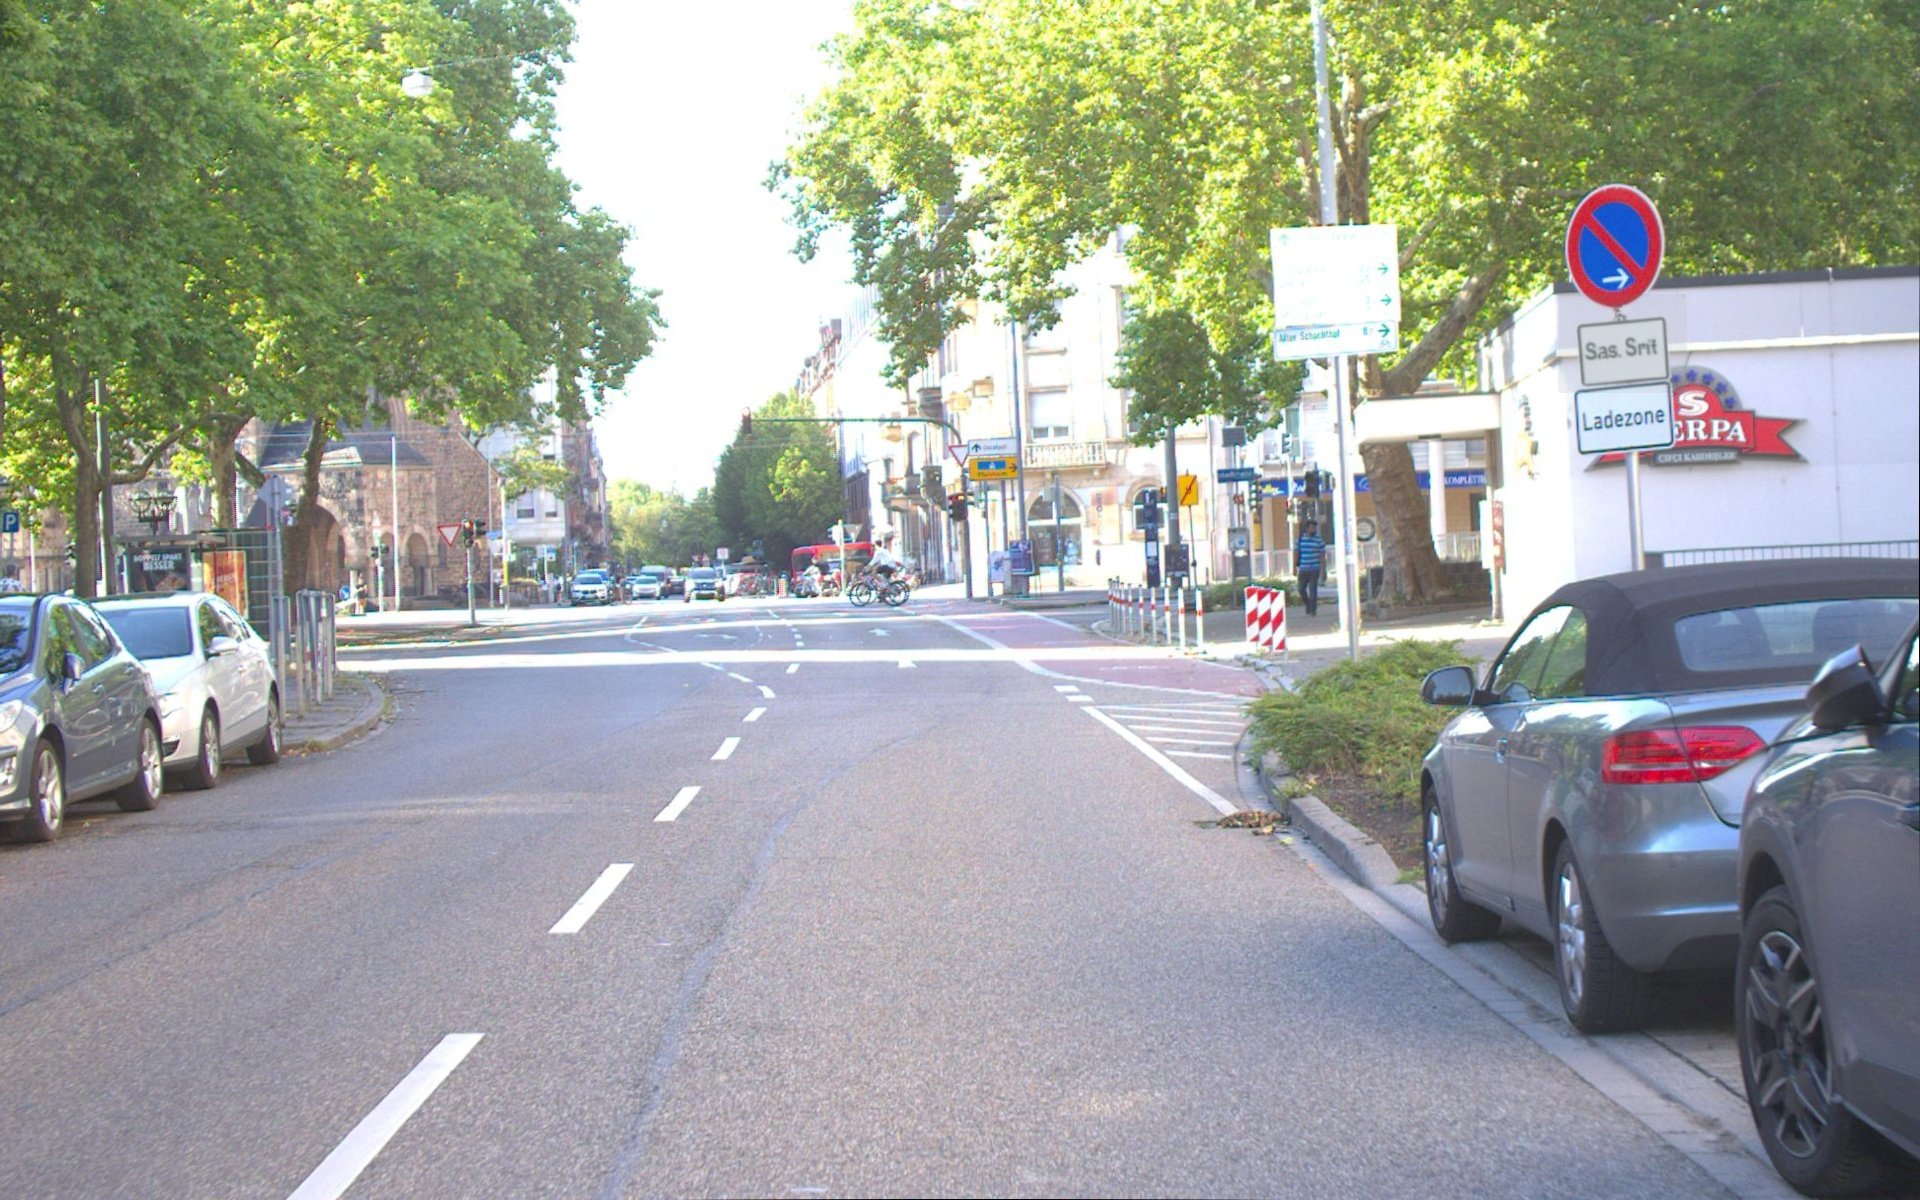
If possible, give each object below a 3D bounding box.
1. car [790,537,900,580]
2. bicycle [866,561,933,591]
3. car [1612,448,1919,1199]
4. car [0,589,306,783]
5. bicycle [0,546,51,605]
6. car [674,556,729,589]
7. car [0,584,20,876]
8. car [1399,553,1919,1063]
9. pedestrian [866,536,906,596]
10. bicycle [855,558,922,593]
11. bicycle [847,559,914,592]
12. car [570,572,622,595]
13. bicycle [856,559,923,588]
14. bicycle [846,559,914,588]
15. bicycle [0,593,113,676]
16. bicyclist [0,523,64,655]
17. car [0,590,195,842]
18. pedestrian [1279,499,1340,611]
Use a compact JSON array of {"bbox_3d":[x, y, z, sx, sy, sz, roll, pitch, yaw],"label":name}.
[{"bbox_3d":[-5.519,-1.974,164.763,4.988,2.007,2.166,0,0,-40],"label":"car"},{"bbox_3d":[-2.612,-1.024,147.207,2.802,1.198,0.511,0,19,-7],"label":"bicycle"},{"bbox_3d":[2.660,0.530,6.298,1.927,1.653,4.678,-2,0,-1],"label":"car"},{"bbox_3d":[-6.322,0.600,26.369,1.769,1.348,4.711,0,0,-1],"label":"car"},{"bbox_3d":[-18.611,-0.470,67.450,0.718,1.141,3.292,0,0,-1],"label":"bicycle"},{"bbox_3d":[-11.527,-1.229,153.485,1.587,1.457,3.181,0,0,13],"label":"car"},{"bbox_3d":[-6.031,0.695,16.716,1.870,1.553,4.000,0,0,-1],"label":"car"},{"bbox_3d":[2.683,0.600,11.946,1.740,1.468,4.000,0,0,-1],"label":"car"},{"bbox_3d":[-2.120,-0.973,98.564,0.992,1.702,0.627,0,0,23],"label":"pedestrian"},{"bbox_3d":[-2.052,-0.706,98.523,1.786,0.978,0.656,0,0,23],"label":"bicycle"},{"bbox_3d":[-2.337,-0.720,100.918,1.784,0.892,0.749,-2,1,26],"label":"bicycle"},{"bbox_3d":[-18.972,-0.853,179.315,1.595,1.140,3.381,0,0,14],"label":"car"},{"bbox_3d":[-2.990,-1.116,145.885,2.802,1.199,0.517,0,0,-7],"label":"bicycle"},{"bbox_3d":[-3.345,-1.099,144.365,2.802,1.199,0.510,0,0,-7],"label":"bicycle"},{"bbox_3d":[-14.359,0.525,53.035,1.010,1.260,2.478,0,0,34],"label":"bicycle"},{"bbox_3d":[-14.436,-0.168,52.915,0.976,2.007,0.796,0,0,34],"label":"bicyclist"},{"bbox_3d":[-6.102,0.665,21.661,1.703,1.435,4.129,0,0,-1],"label":"car"},{"bbox_3d":[6.514,-0.825,64.154,0.827,2.007,1.153,-5,0,-1],"label":"pedestrian"}]
